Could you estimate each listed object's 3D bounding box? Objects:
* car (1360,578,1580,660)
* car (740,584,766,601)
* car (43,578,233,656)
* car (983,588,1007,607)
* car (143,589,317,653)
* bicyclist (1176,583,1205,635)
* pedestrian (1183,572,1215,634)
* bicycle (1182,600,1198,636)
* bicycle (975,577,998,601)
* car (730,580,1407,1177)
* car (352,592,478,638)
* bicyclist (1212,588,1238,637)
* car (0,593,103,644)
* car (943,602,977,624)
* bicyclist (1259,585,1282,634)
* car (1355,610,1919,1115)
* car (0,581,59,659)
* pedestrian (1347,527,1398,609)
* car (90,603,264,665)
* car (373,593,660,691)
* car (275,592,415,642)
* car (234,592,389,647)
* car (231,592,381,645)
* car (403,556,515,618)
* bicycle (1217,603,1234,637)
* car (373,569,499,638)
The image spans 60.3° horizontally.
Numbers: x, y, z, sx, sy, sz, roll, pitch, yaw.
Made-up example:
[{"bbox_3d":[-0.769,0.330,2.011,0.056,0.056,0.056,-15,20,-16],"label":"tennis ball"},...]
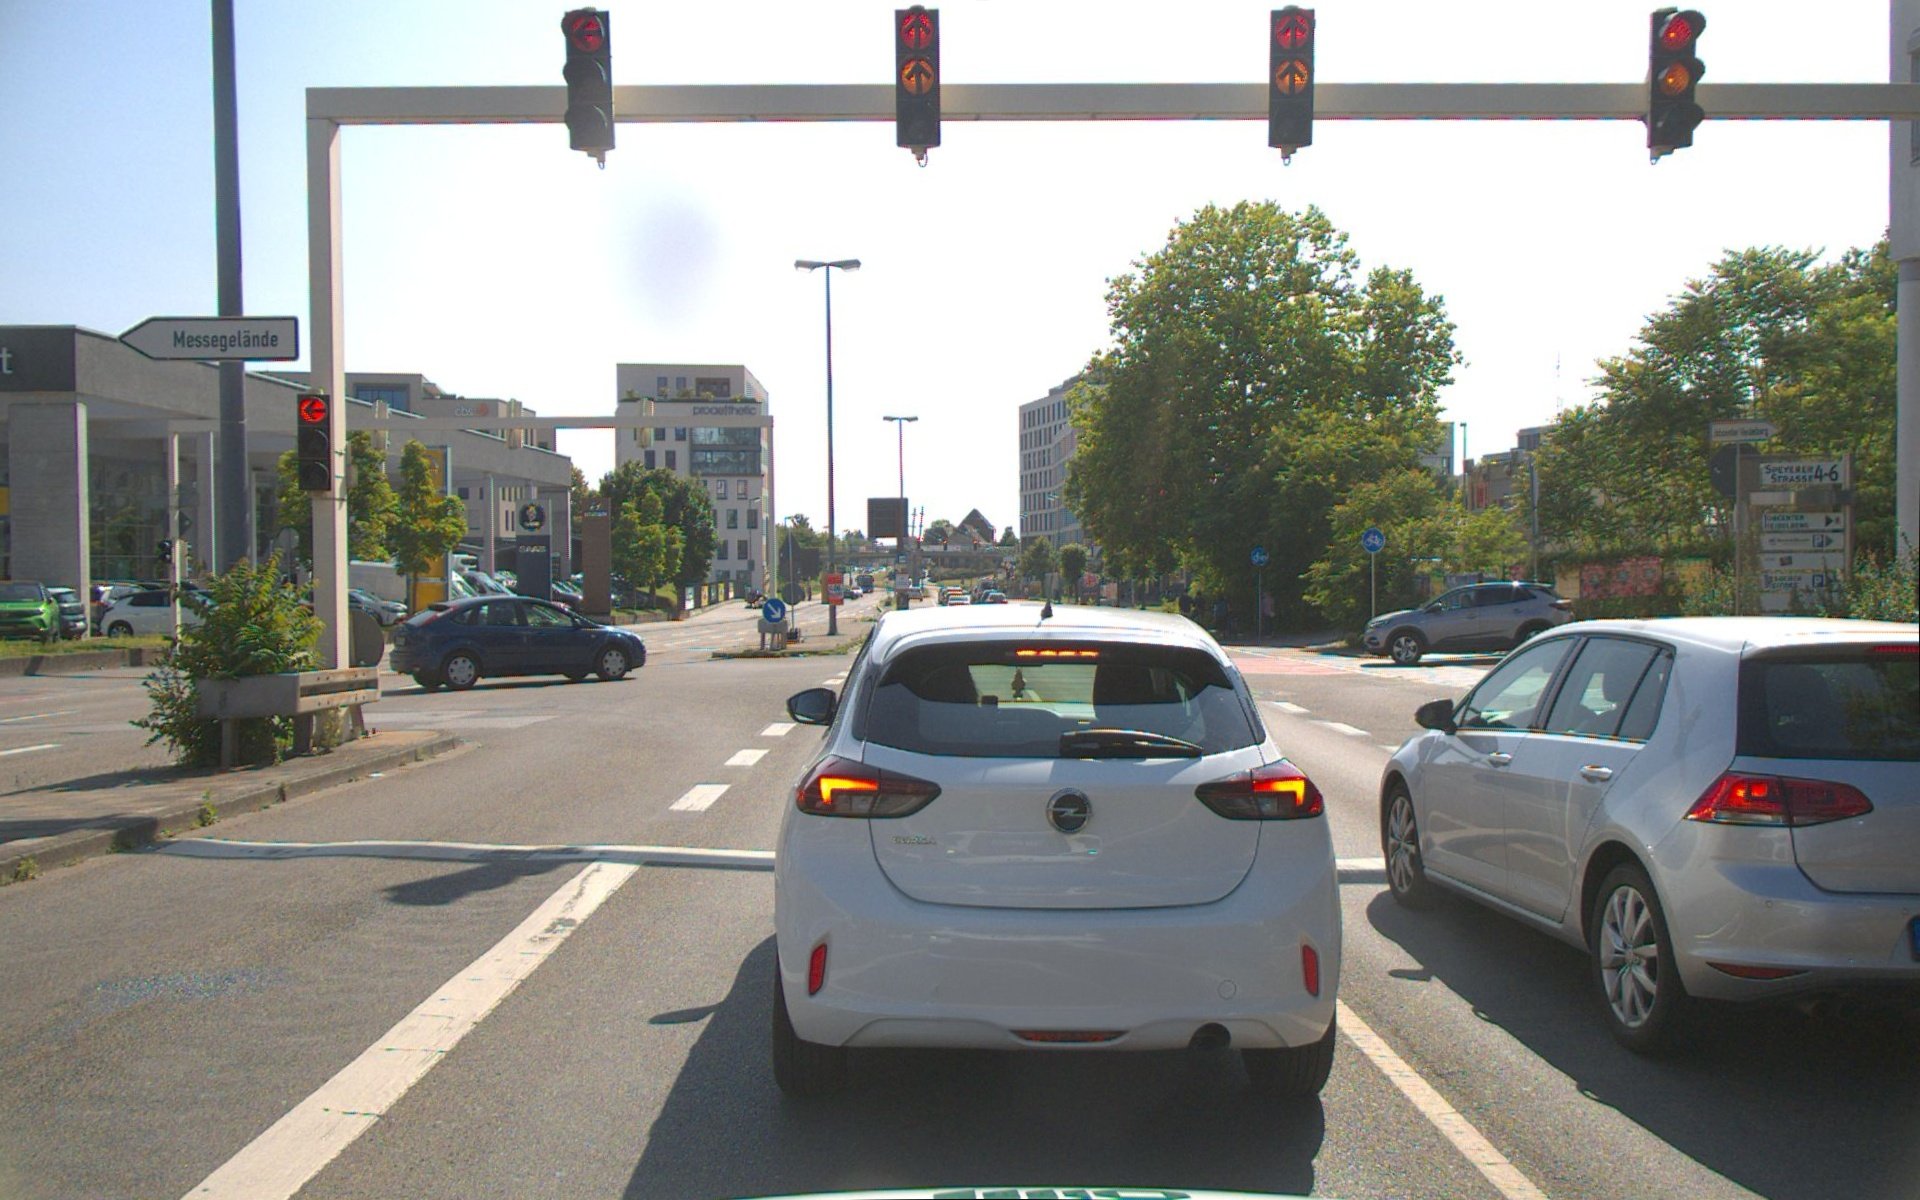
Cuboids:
[{"bbox_3d":[10.863,0.409,35.387,4.325,1.578,2.001,-2,0,16],"label":"car"},{"bbox_3d":[-17.746,-0.643,141.878,1.769,1.410,3.999,1,-1,-1],"label":"car"},{"bbox_3d":[-20.732,0.404,41.842,3.793,1.870,1.999,-1,0,-4],"label":"car"},{"bbox_3d":[2.845,-0.199,135.287,1.769,1.410,3.999,1,-1,-1],"label":"car"},{"bbox_3d":[-21.391,0.590,48.625,4.211,1.796,1.999,-1,0,-4],"label":"car"},{"bbox_3d":[8.072,0.323,58.017,0.861,1.803,0.863,0,0,-1],"label":"bicyclist"},{"bbox_3d":[8.960,0.103,62.095,1.006,2.278,1.038,0,0,-1],"label":"pedestrian"},{"bbox_3d":[8.053,0.612,58.011,0.365,1.238,1.153,1,0,-1],"label":"bicycle"},{"bbox_3d":[2.473,-1.055,155.606,1.953,2.195,3.999,-1,0,-1],"label":"bicycle"},{"bbox_3d":[0.250,0.708,6.280,1.743,1.520,3.999,-1,0,-1],"label":"car"},{"bbox_3d":[-21.369,0.563,64.984,4.268,1.726,2.000,-1,0,-1],"label":"car"},{"bbox_3d":[9.179,0.435,57.324,0.675,1.672,0.775,0,0,-9],"label":"bicyclist"},{"bbox_3d":[-26.267,0.537,45.527,4.276,1.290,1.996,-2,-1,-9],"label":"car"},{"bbox_3d":[-0.020,0.859,109.594,1.954,1.355,3.997,1,-1,-3],"label":"car"},{"bbox_3d":[10.844,0.331,57.795,0.639,1.666,0.659,1,-1,-1],"label":"bicyclist"},{"bbox_3d":[3.120,0.778,6.897,1.771,1.454,3.997,0,0,-3],"label":"car"},{"bbox_3d":[-22.563,0.495,38.948,1.887,1.764,3.250,-1,-1,-37],"label":"car"},{"bbox_3d":[10.416,-0.795,41.802,1.006,2.049,1.038,0,0,-1],"label":"pedestrian"},{"bbox_3d":[-21.697,0.933,45.971,3.912,1.627,1.997,-1,0,-8],"label":"car"},{"bbox_3d":[-7.489,0.658,28.053,4.318,1.472,1.977,-1,0,-34],"label":"car"},{"bbox_3d":[-21.945,0.584,59.182,4.270,1.726,1.999,-1,0,-4],"label":"car"},{"bbox_3d":[-21.020,0.618,53.767,4.270,1.726,1.999,0,0,-3],"label":"car"},{"bbox_3d":[-22.148,0.610,56.145,4.270,1.726,1.999,-1,0,-4],"label":"car"},{"bbox_3d":[-21.988,-0.579,72.711,4.265,2.646,2.001,-1,0,4],"label":"car"},{"bbox_3d":[9.203,0.693,57.340,0.366,1.167,1.034,1,-1,-3],"label":"bicycle"},{"bbox_3d":[-21.333,0.144,67.437,4.401,2.731,2.130,0,0,8],"label":"car"}]
